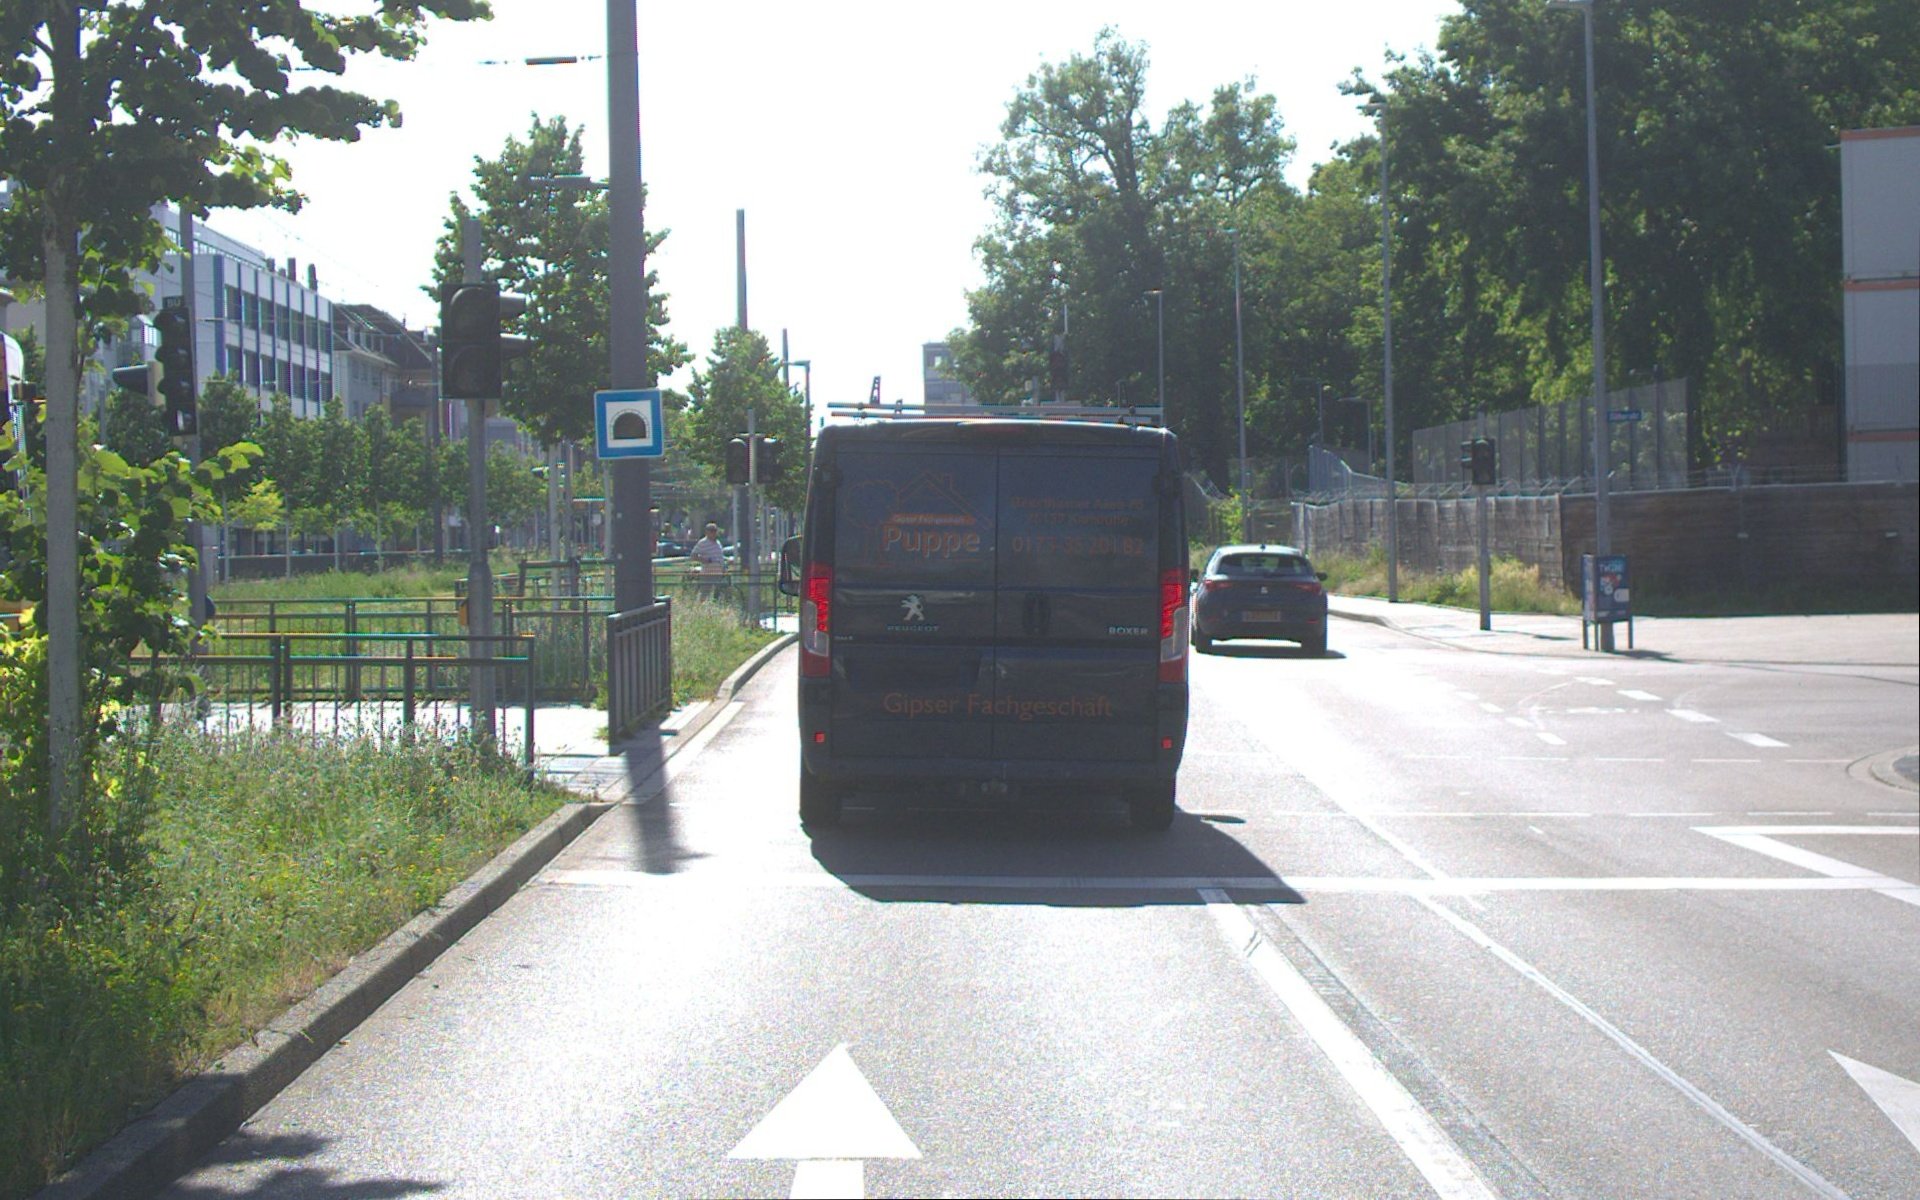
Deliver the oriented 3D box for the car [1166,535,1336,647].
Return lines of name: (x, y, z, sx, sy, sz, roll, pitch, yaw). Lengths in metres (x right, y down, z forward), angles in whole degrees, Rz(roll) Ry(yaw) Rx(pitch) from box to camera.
car: (3.898, -0.152, 46.624, 1.763, 1.457, 4.001, 0, 1, -3)

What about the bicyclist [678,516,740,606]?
bicyclist: (-4.236, -0.666, 57.980, 0.826, 1.507, 0.730, 0, 1, -26)

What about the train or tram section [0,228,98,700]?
train or tram section: (-8.407, -1.009, 24.034, 1.993, 3.656, 11.684, 0, 1, -1)

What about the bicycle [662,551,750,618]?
bicycle: (-4.304, -0.273, 58.091, 0.732, 1.087, 2.083, 0, 1, -27)

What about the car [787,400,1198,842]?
car: (0.110, 0.073, 19.447, 2.082, 2.241, 4.000, 0, 1, -2)
